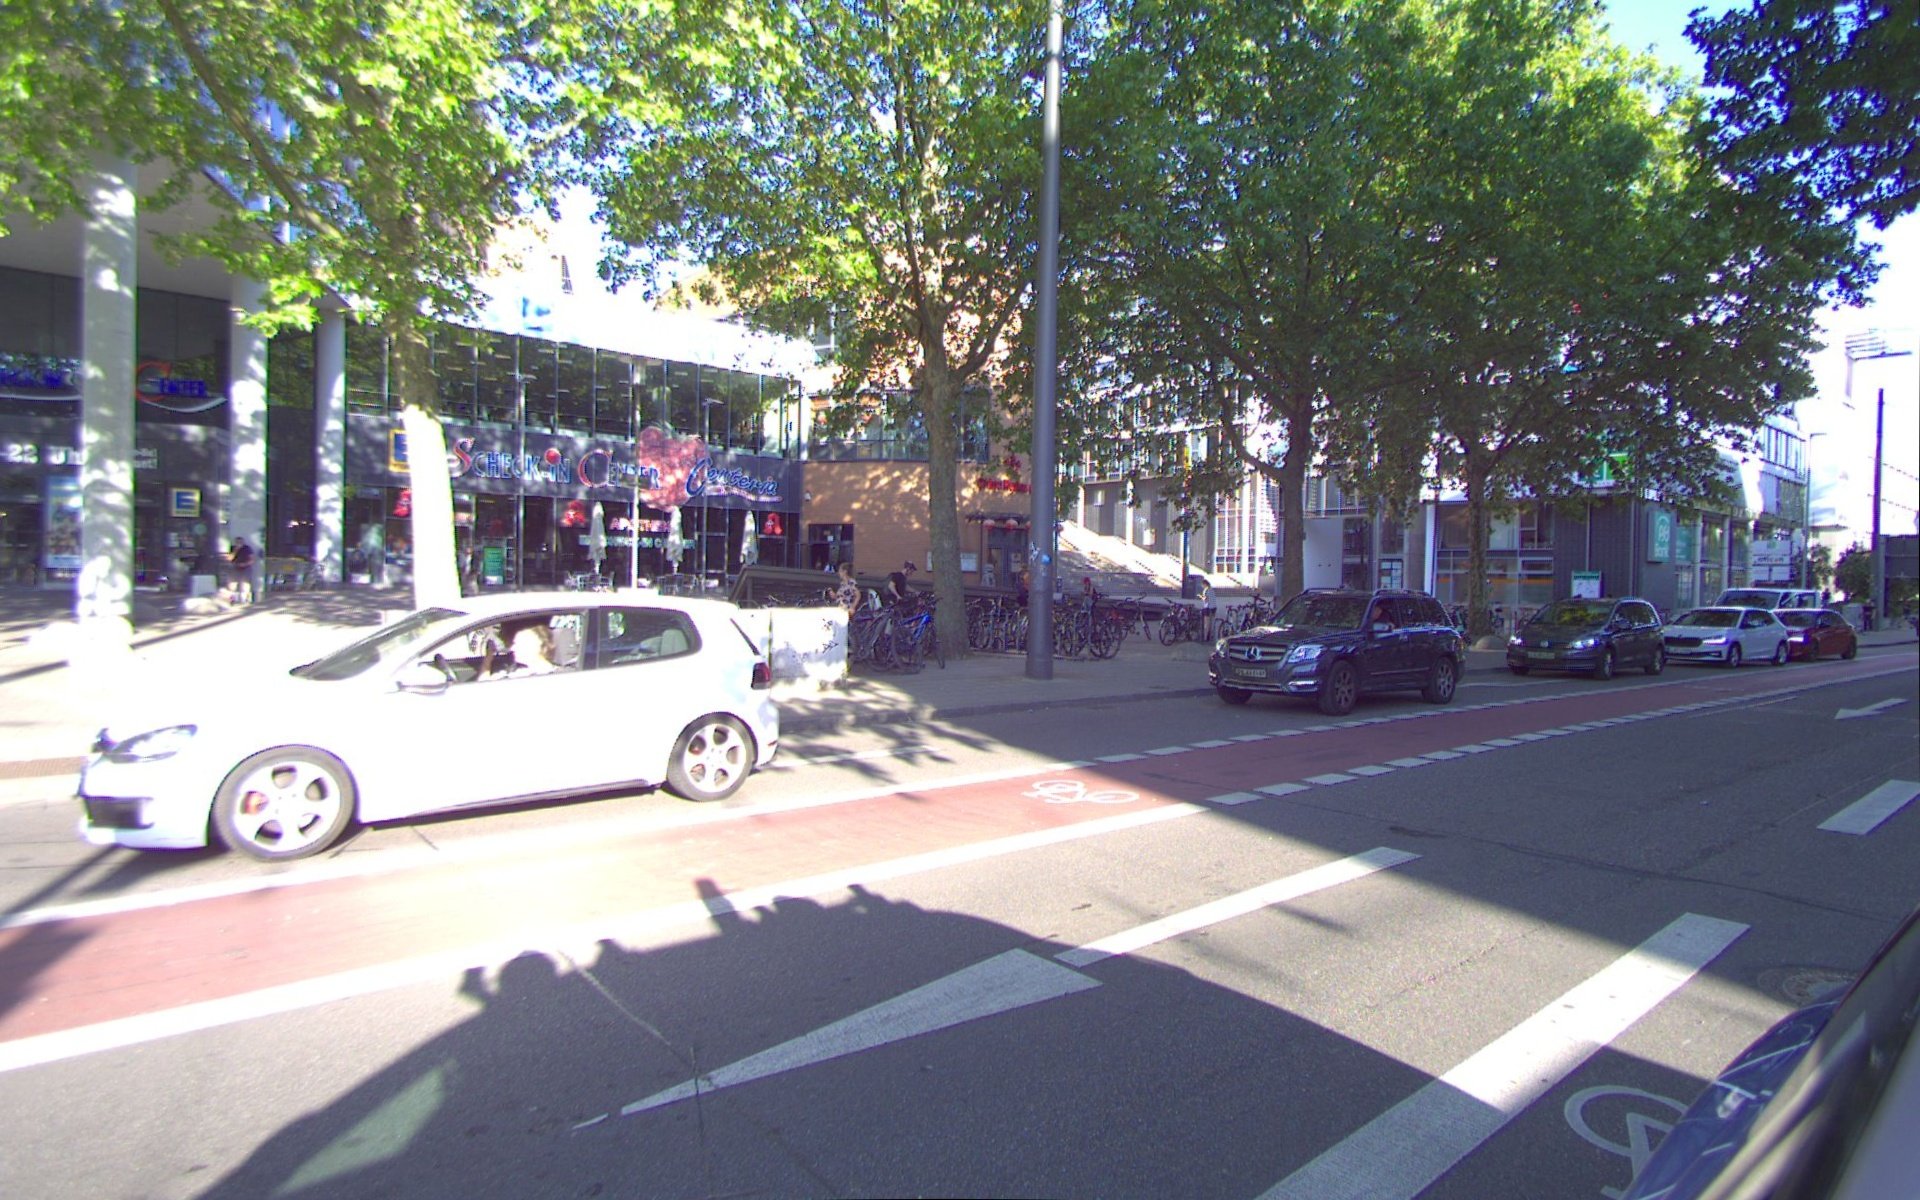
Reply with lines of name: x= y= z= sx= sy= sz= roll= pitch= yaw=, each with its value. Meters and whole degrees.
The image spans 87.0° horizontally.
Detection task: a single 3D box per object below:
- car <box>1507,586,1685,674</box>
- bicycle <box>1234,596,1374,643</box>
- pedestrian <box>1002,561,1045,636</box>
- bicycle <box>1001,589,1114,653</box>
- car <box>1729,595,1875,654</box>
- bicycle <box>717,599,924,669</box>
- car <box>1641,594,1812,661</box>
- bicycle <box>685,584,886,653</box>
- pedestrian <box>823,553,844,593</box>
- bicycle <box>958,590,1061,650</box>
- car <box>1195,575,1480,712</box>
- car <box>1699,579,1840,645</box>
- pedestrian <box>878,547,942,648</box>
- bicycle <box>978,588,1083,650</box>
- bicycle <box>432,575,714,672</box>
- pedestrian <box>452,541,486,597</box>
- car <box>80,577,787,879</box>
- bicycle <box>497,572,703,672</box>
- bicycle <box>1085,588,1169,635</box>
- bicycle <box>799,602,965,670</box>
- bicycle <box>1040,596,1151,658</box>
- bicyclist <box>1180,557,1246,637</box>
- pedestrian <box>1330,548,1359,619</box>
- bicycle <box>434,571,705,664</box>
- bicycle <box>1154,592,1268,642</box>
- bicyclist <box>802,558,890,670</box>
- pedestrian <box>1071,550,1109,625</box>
car: x=13.241 y=0.555 z=20.979 sx=4.309 sy=1.656 sz=1.711 roll=0 pitch=0 yaw=-37
bicycle: x=8.007 y=0.432 z=23.556 sx=3.136 sy=1.038 sz=0.979 roll=0 pitch=0 yaw=-18
pedestrian: x=1.940 y=-0.050 z=31.058 sx=1.195 sy=2.276 sz=1.052 roll=0 pitch=0 yaw=-3
bicycle: x=1.929 y=0.382 z=19.750 sx=2.355 sy=1.177 sz=0.750 roll=-1 pitch=0 yaw=-40
car: x=23.350 y=0.641 z=28.042 sx=4.111 sy=1.508 sz=1.838 roll=0 pitch=-1 yaw=-30
bicycle: x=-2.218 y=0.501 z=16.598 sx=3.352 sy=1.014 sz=1.050 roll=-1 pitch=0 yaw=-41
car: x=18.982 y=0.632 z=25.041 sx=4.110 sy=1.508 sz=1.839 roll=0 pitch=0 yaw=-28
bicycle: x=-2.947 y=0.273 z=17.508 sx=3.352 sy=1.013 sz=1.051 roll=-1 pitch=6 yaw=-41
pedestrian: x=-5.686 y=-1.191 z=45.317 sx=0.640 sy=1.765 sz=0.659 roll=2 pitch=1 yaw=31
bicycle: x=1.042 y=0.380 z=20.947 sx=2.251 sy=1.177 sz=0.657 roll=-1 pitch=0 yaw=-38
car: x=5.364 y=0.517 z=14.166 sx=4.171 sy=1.656 sz=1.770 roll=0 pitch=0 yaw=-37
car: x=26.285 y=0.348 z=32.789 sx=5.804 sy=1.989 sz=1.935 roll=0 pitch=0 yaw=-34
pedestrian: x=-1.031 y=-0.071 z=21.122 sx=0.922 sy=2.039 sz=1.085 roll=2 pitch=1 yaw=24
bicycle: x=1.439 y=0.350 z=20.362 sx=2.263 sy=1.177 sz=0.671 roll=-1 pitch=0 yaw=-38
bicycle: x=-5.518 y=0.282 z=14.694 sx=3.744 sy=1.236 sz=0.758 roll=-2 pitch=1 yaw=-35
pedestrian: x=-15.824 y=-1.004 z=32.604 sx=0.823 sy=1.765 sz=0.645 roll=0 pitch=1 yaw=-41
car: x=-3.272 y=0.600 z=6.765 sx=3.917 sy=1.446 sz=1.637 roll=0 pitch=0 yaw=-41
bicycle: x=-4.820 y=0.249 z=13.670 sx=2.504 sy=1.236 sz=0.758 roll=-2 pitch=1 yaw=-35
bicycle: x=4.502 y=0.285 z=27.115 sx=2.653 sy=1.215 sz=0.698 roll=-1 pitch=1 yaw=-41
bicycle: x=-1.197 y=0.526 z=16.058 sx=2.591 sy=0.960 sz=0.924 roll=-1 pitch=0 yaw=-41
bicycle: x=2.582 y=0.471 z=19.057 sx=2.295 sy=1.073 sz=0.682 roll=-1 pitch=1 yaw=-39
bicyclist: x=6.650 y=-0.104 z=26.632 sx=1.132 sy=2.039 sz=1.301 roll=0 pitch=1 yaw=-24
pedestrian: x=14.653 y=-0.623 z=38.615 sx=0.967 sy=2.681 sz=0.897 roll=0 pitch=0 yaw=18
bicycle: x=-5.864 y=0.314 z=15.480 sx=3.743 sy=1.236 sz=0.729 roll=4 pitch=-2 yaw=-35
bicycle: x=6.562 y=0.414 z=26.795 sx=1.124 sy=1.097 sz=3.342 roll=0 pitch=2 yaw=-23
bicyclist: x=-1.756 y=0.200 z=15.586 sx=1.005 sy=1.641 sz=0.902 roll=0 pitch=0 yaw=-41
pedestrian: x=3.977 y=-0.386 z=30.994 sx=0.884 sy=2.261 sz=0.845 roll=0 pitch=0 yaw=-19
